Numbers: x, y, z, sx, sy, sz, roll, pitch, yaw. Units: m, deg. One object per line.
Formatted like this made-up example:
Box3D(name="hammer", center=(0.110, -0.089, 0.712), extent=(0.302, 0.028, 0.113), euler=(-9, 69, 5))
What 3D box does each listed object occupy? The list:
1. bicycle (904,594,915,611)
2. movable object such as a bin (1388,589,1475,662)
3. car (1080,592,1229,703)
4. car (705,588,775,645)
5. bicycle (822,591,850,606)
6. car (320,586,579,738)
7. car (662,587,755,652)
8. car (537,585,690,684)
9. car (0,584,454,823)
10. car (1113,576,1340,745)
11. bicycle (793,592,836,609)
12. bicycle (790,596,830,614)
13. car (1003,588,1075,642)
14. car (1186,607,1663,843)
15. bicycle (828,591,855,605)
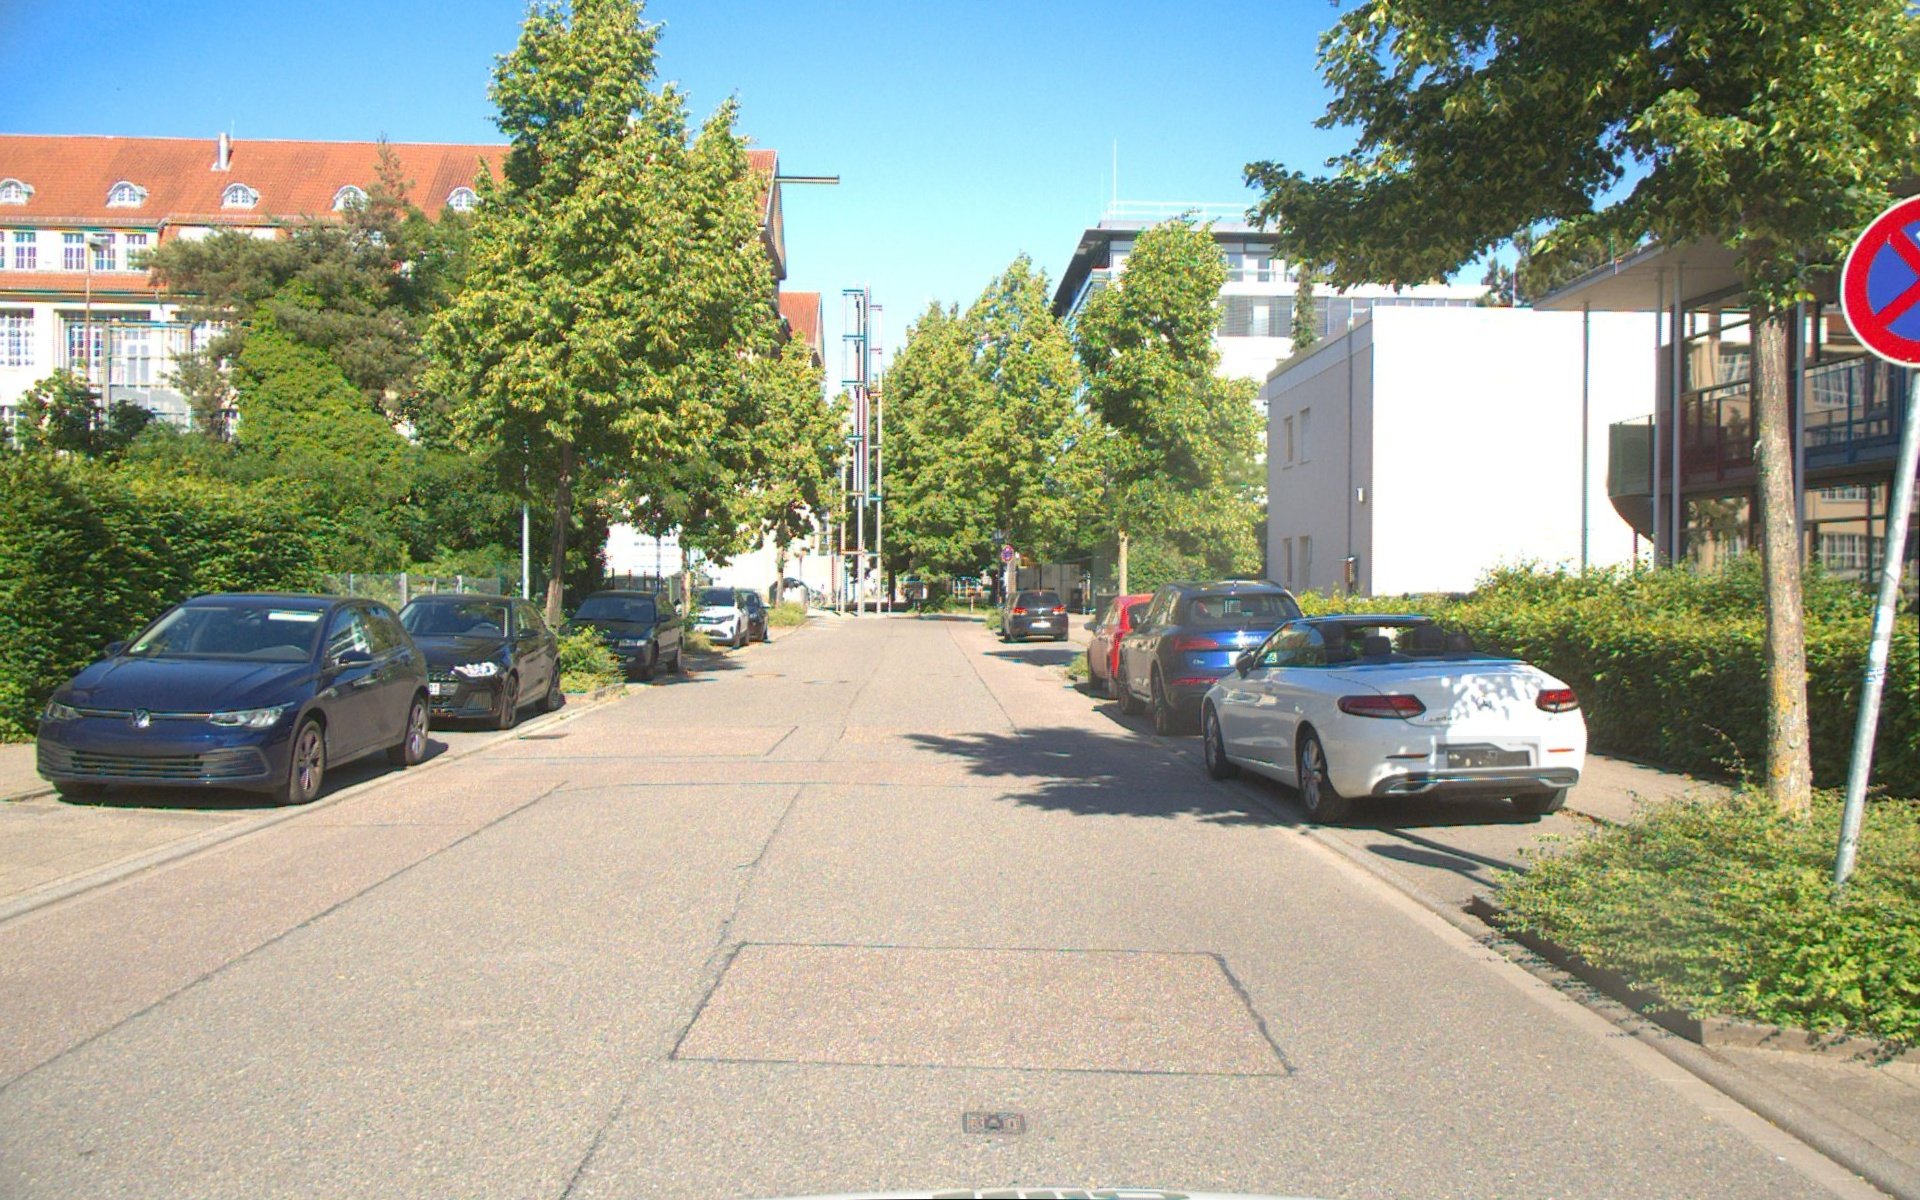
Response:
Box3D(name="bicycle", center=(-3.641, 0.175, 119.883), extent=(0.607, 1.218, 2.129), euler=(0, 1, -6))
Box3D(name="movable object such as a bin", center=(9.851, 0.520, 34.628), extent=(1.338, 1.473, 1.631), euler=(0, 0, -1))
Box3D(name="car", center=(2.852, 0.655, 24.984), extent=(1.642, 1.530, 3.845), euler=(-1, 0, -2))
Box3D(name="car", center=(-6.306, 0.446, 47.639), extent=(1.683, 1.499, 3.544), euler=(2, 0, -4))
Box3D(name="bicycle", center=(-9.437, -0.131, 125.978), extent=(2.015, 1.085, 0.506), euler=(1, 0, 0))
Box3D(name="car", center=(-5.753, 0.642, 19.167), extent=(1.803, 1.499, 4.026), euler=(2, 0, -2))
Box3D(name="car", center=(-6.337, 0.468, 42.008), extent=(1.803, 1.499, 4.001), euler=(2, 0, -2))
Box3D(name="car", center=(-5.901, 0.549, 28.652), extent=(1.803, 1.499, 4.358), euler=(2, 0, -2))
Box3D(name="car", center=(-5.469, 0.681, 12.954), extent=(1.803, 1.499, 4.098), euler=(2, 0, -2))
Box3D(name="car", center=(2.973, 0.621, 19.404), extent=(1.861, 1.712, 4.410), euler=(-1, 0, -1))
Box3D(name="bicycle", center=(-9.366, 0.034, 106.422), extent=(2.746, 1.081, 0.718), euler=(1, 0, -6))
Box3D(name="bicycle", center=(-10.281, 0.342, 113.178), extent=(2.746, 1.171, 0.718), euler=(0, 0, -6))
Box3D(name="car", center=(2.292, 0.409, 49.068), extent=(1.748, 1.542, 3.998), euler=(0, 1, -3))
Box3D(name="car", center=(3.211, 0.777, 12.608), extent=(1.924, 1.343, 4.771), euler=(-2, 0, -5))
Box3D(name="bicycle", center=(-9.040, -0.143, 126.626), extent=(2.015, 1.085, 0.506), euler=(1, 0, 0))
